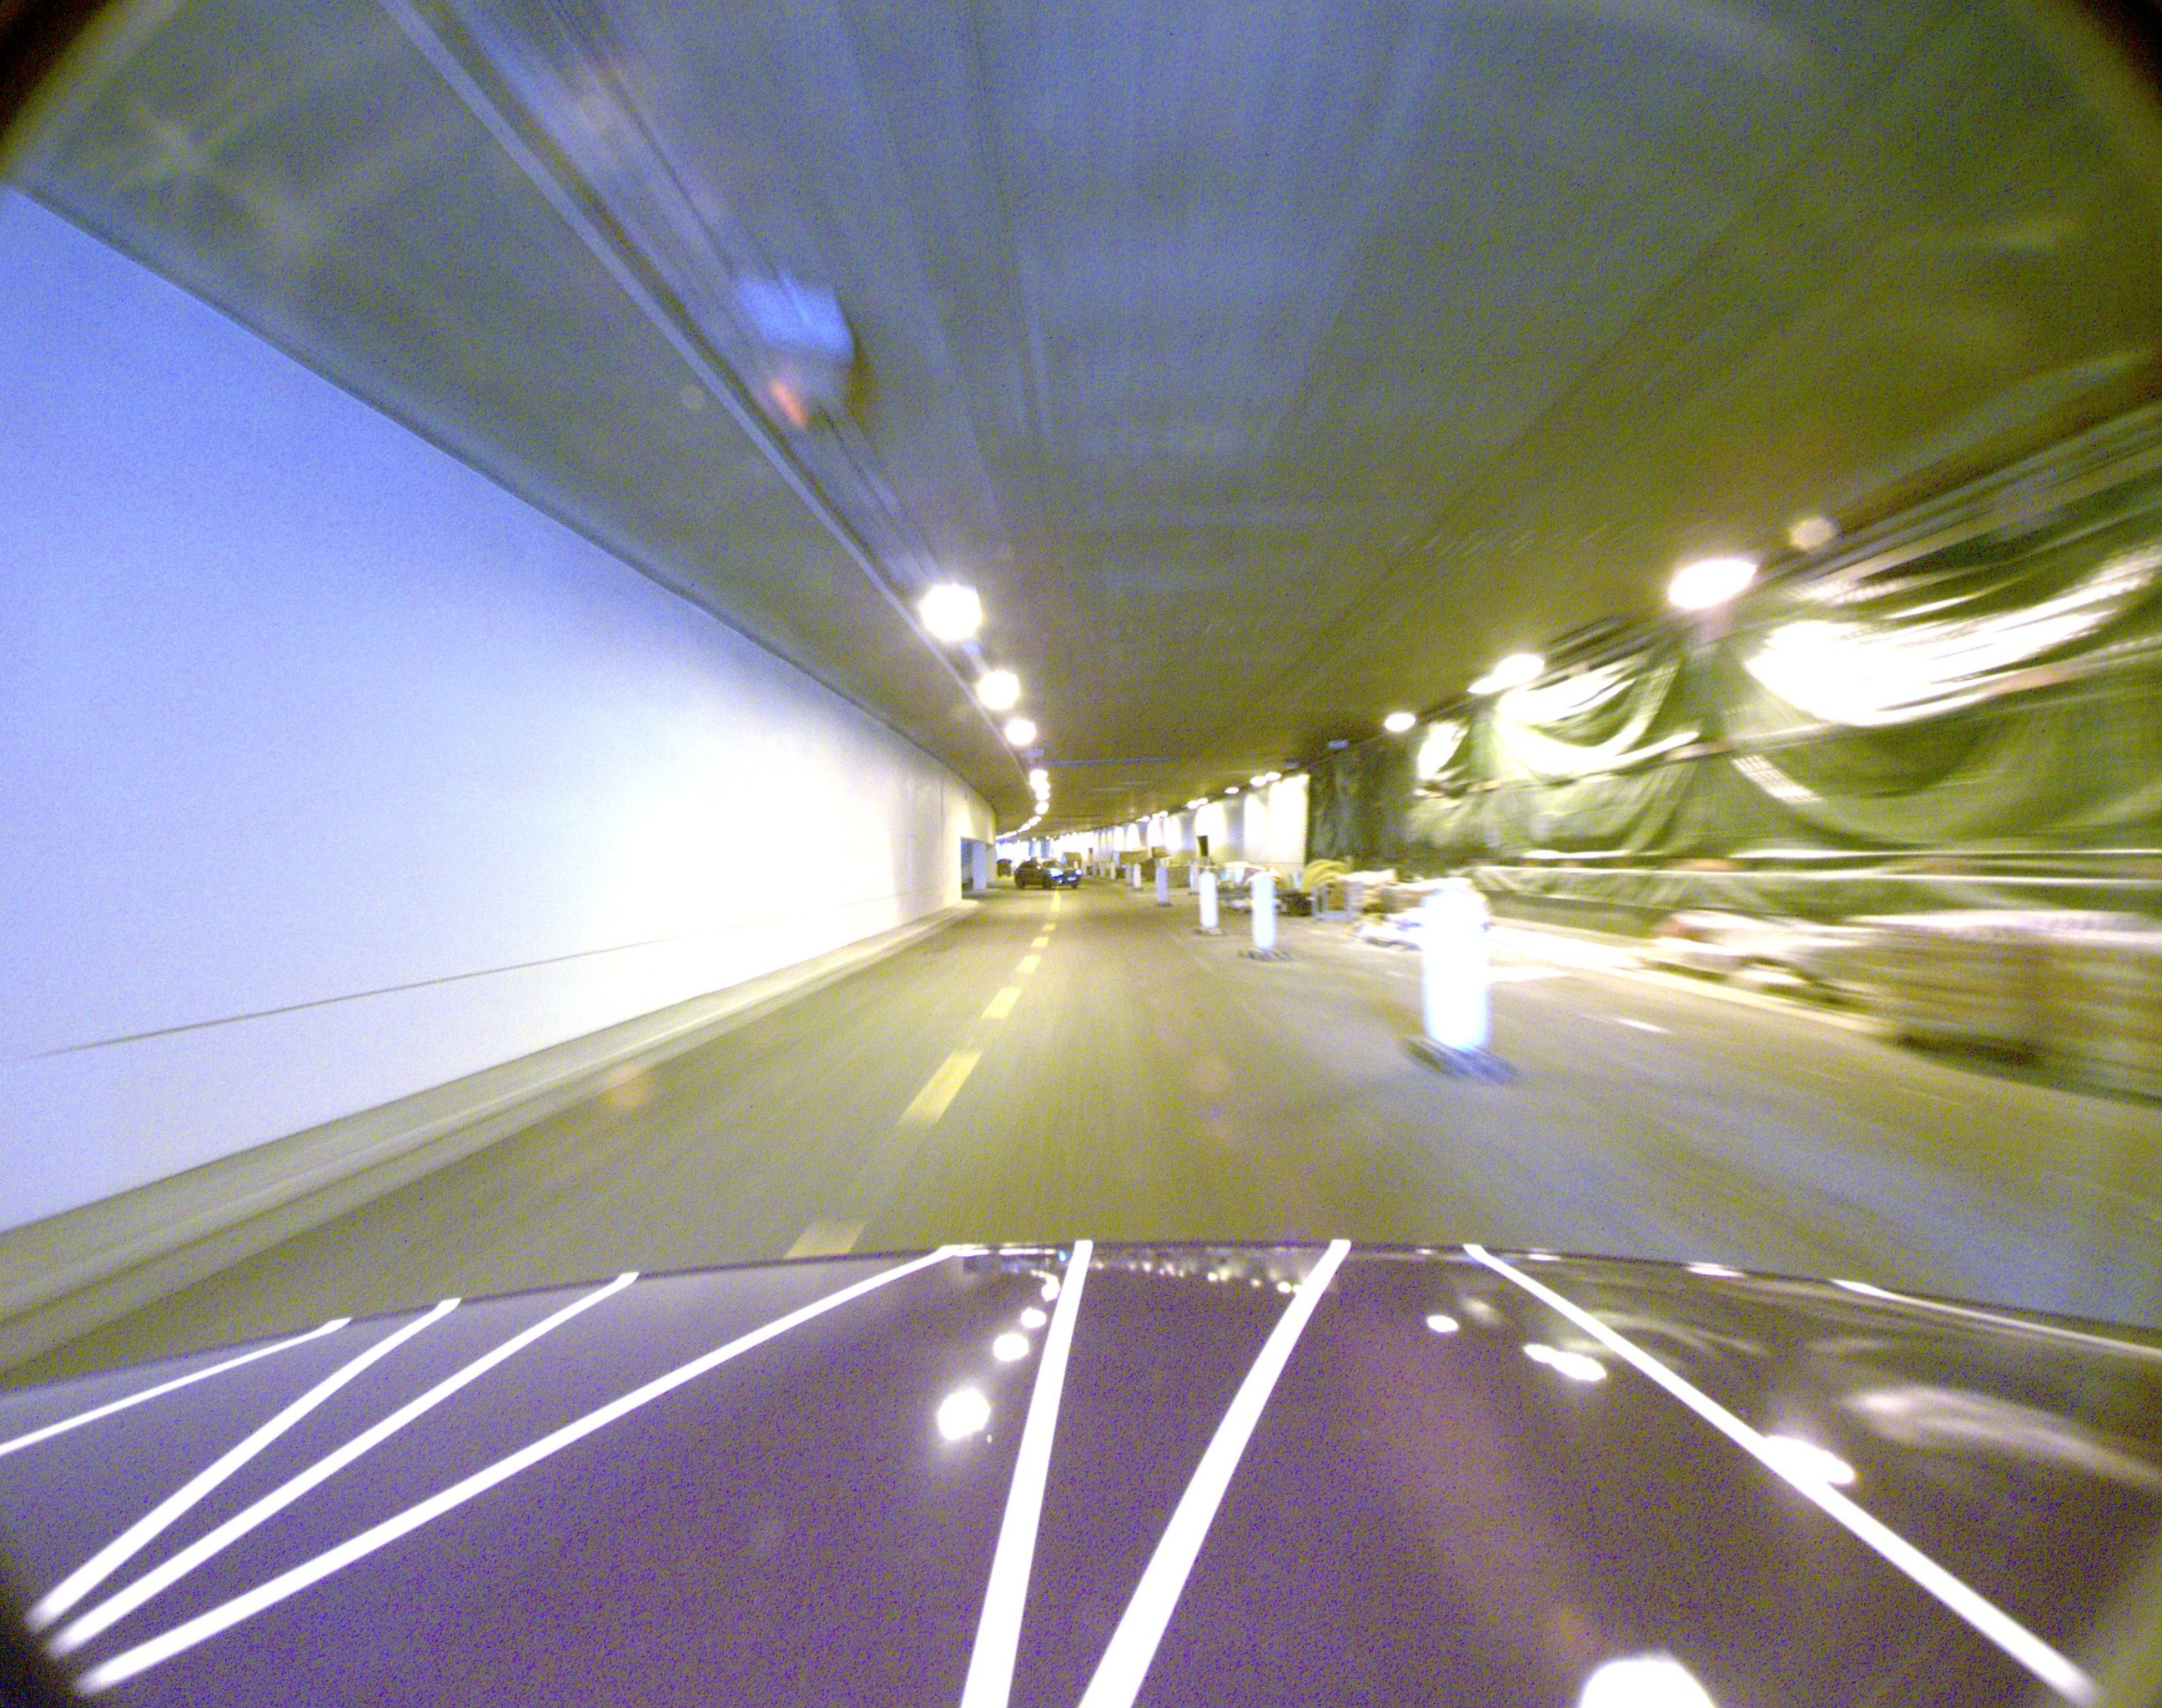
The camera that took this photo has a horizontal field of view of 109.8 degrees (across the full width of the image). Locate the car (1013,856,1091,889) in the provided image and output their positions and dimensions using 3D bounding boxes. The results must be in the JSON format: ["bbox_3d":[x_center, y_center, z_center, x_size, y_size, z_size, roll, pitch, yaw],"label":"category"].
[{"bbox_3d":[-1.570,0.922,39.255,1.901,1.537,4.229,-2,1,-37],"label":"car"}]

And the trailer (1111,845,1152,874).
[{"bbox_3d":[3.624,0.375,55.317,2.215,2.002,3.463,-2,1,-9],"label":"trailer"}]

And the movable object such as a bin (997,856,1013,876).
[{"bbox_3d":[-5.857,0.931,58.317,1.149,1.437,1.363,-2,1,-8],"label":"movable object such as a bin"}]

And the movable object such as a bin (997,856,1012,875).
[{"bbox_3d":[-6.022,0.917,59.699,1.101,1.437,1.321,-2,1,-8],"label":"movable object such as a bin"}]

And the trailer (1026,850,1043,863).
[{"bbox_3d":[-6.579,0.304,106.678,1.645,1.781,3.118,-2,1,-17],"label":"trailer"}]
